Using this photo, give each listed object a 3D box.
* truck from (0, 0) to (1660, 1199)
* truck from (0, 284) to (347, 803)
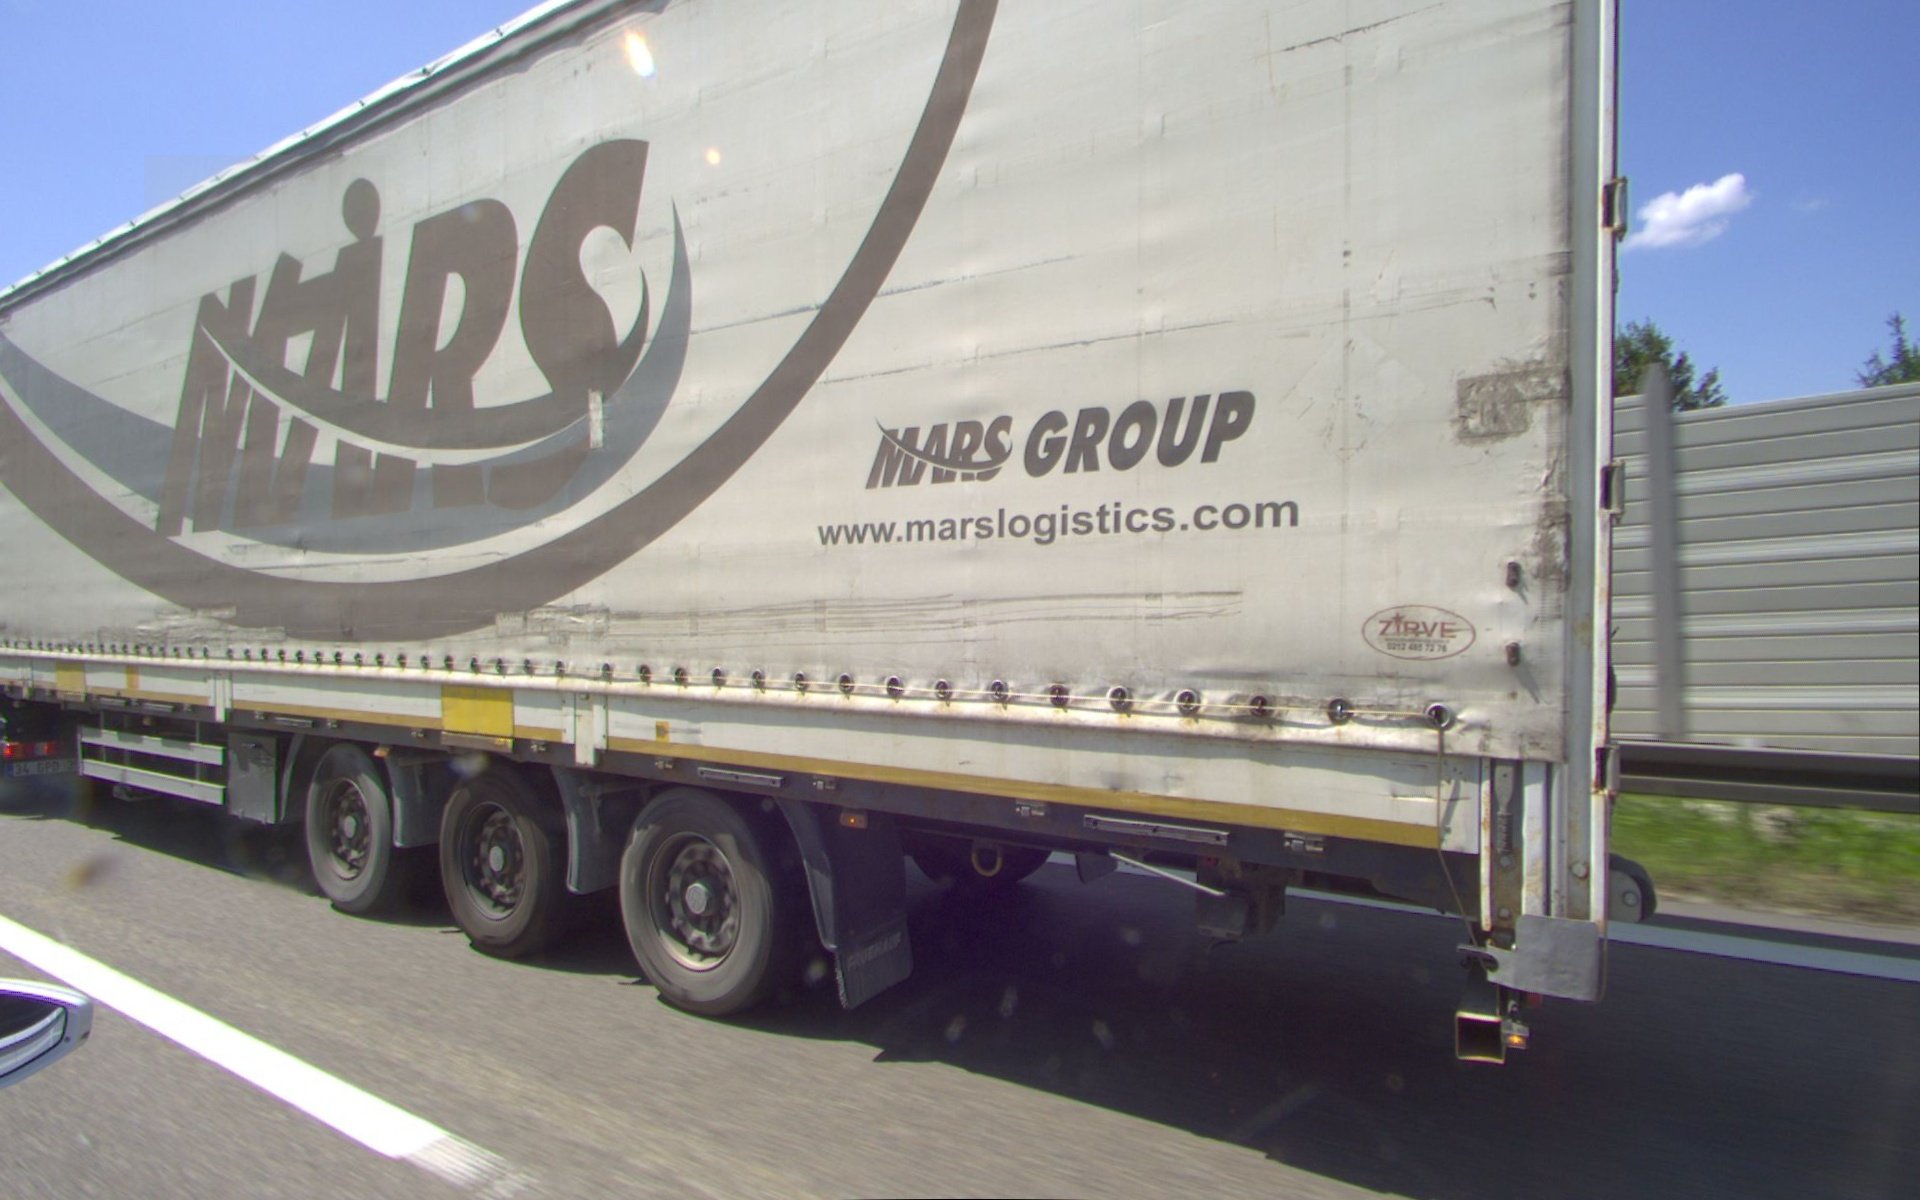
[{"bbox_3d":[-3.595,-0.535,6.861,13.548,4.120,2.721,-2,-1,33],"label":"truck"},{"bbox_3d":[-9.335,-0.350,10.536,5.673,4.120,2.714,-2,-1,32],"label":"truck"}]
